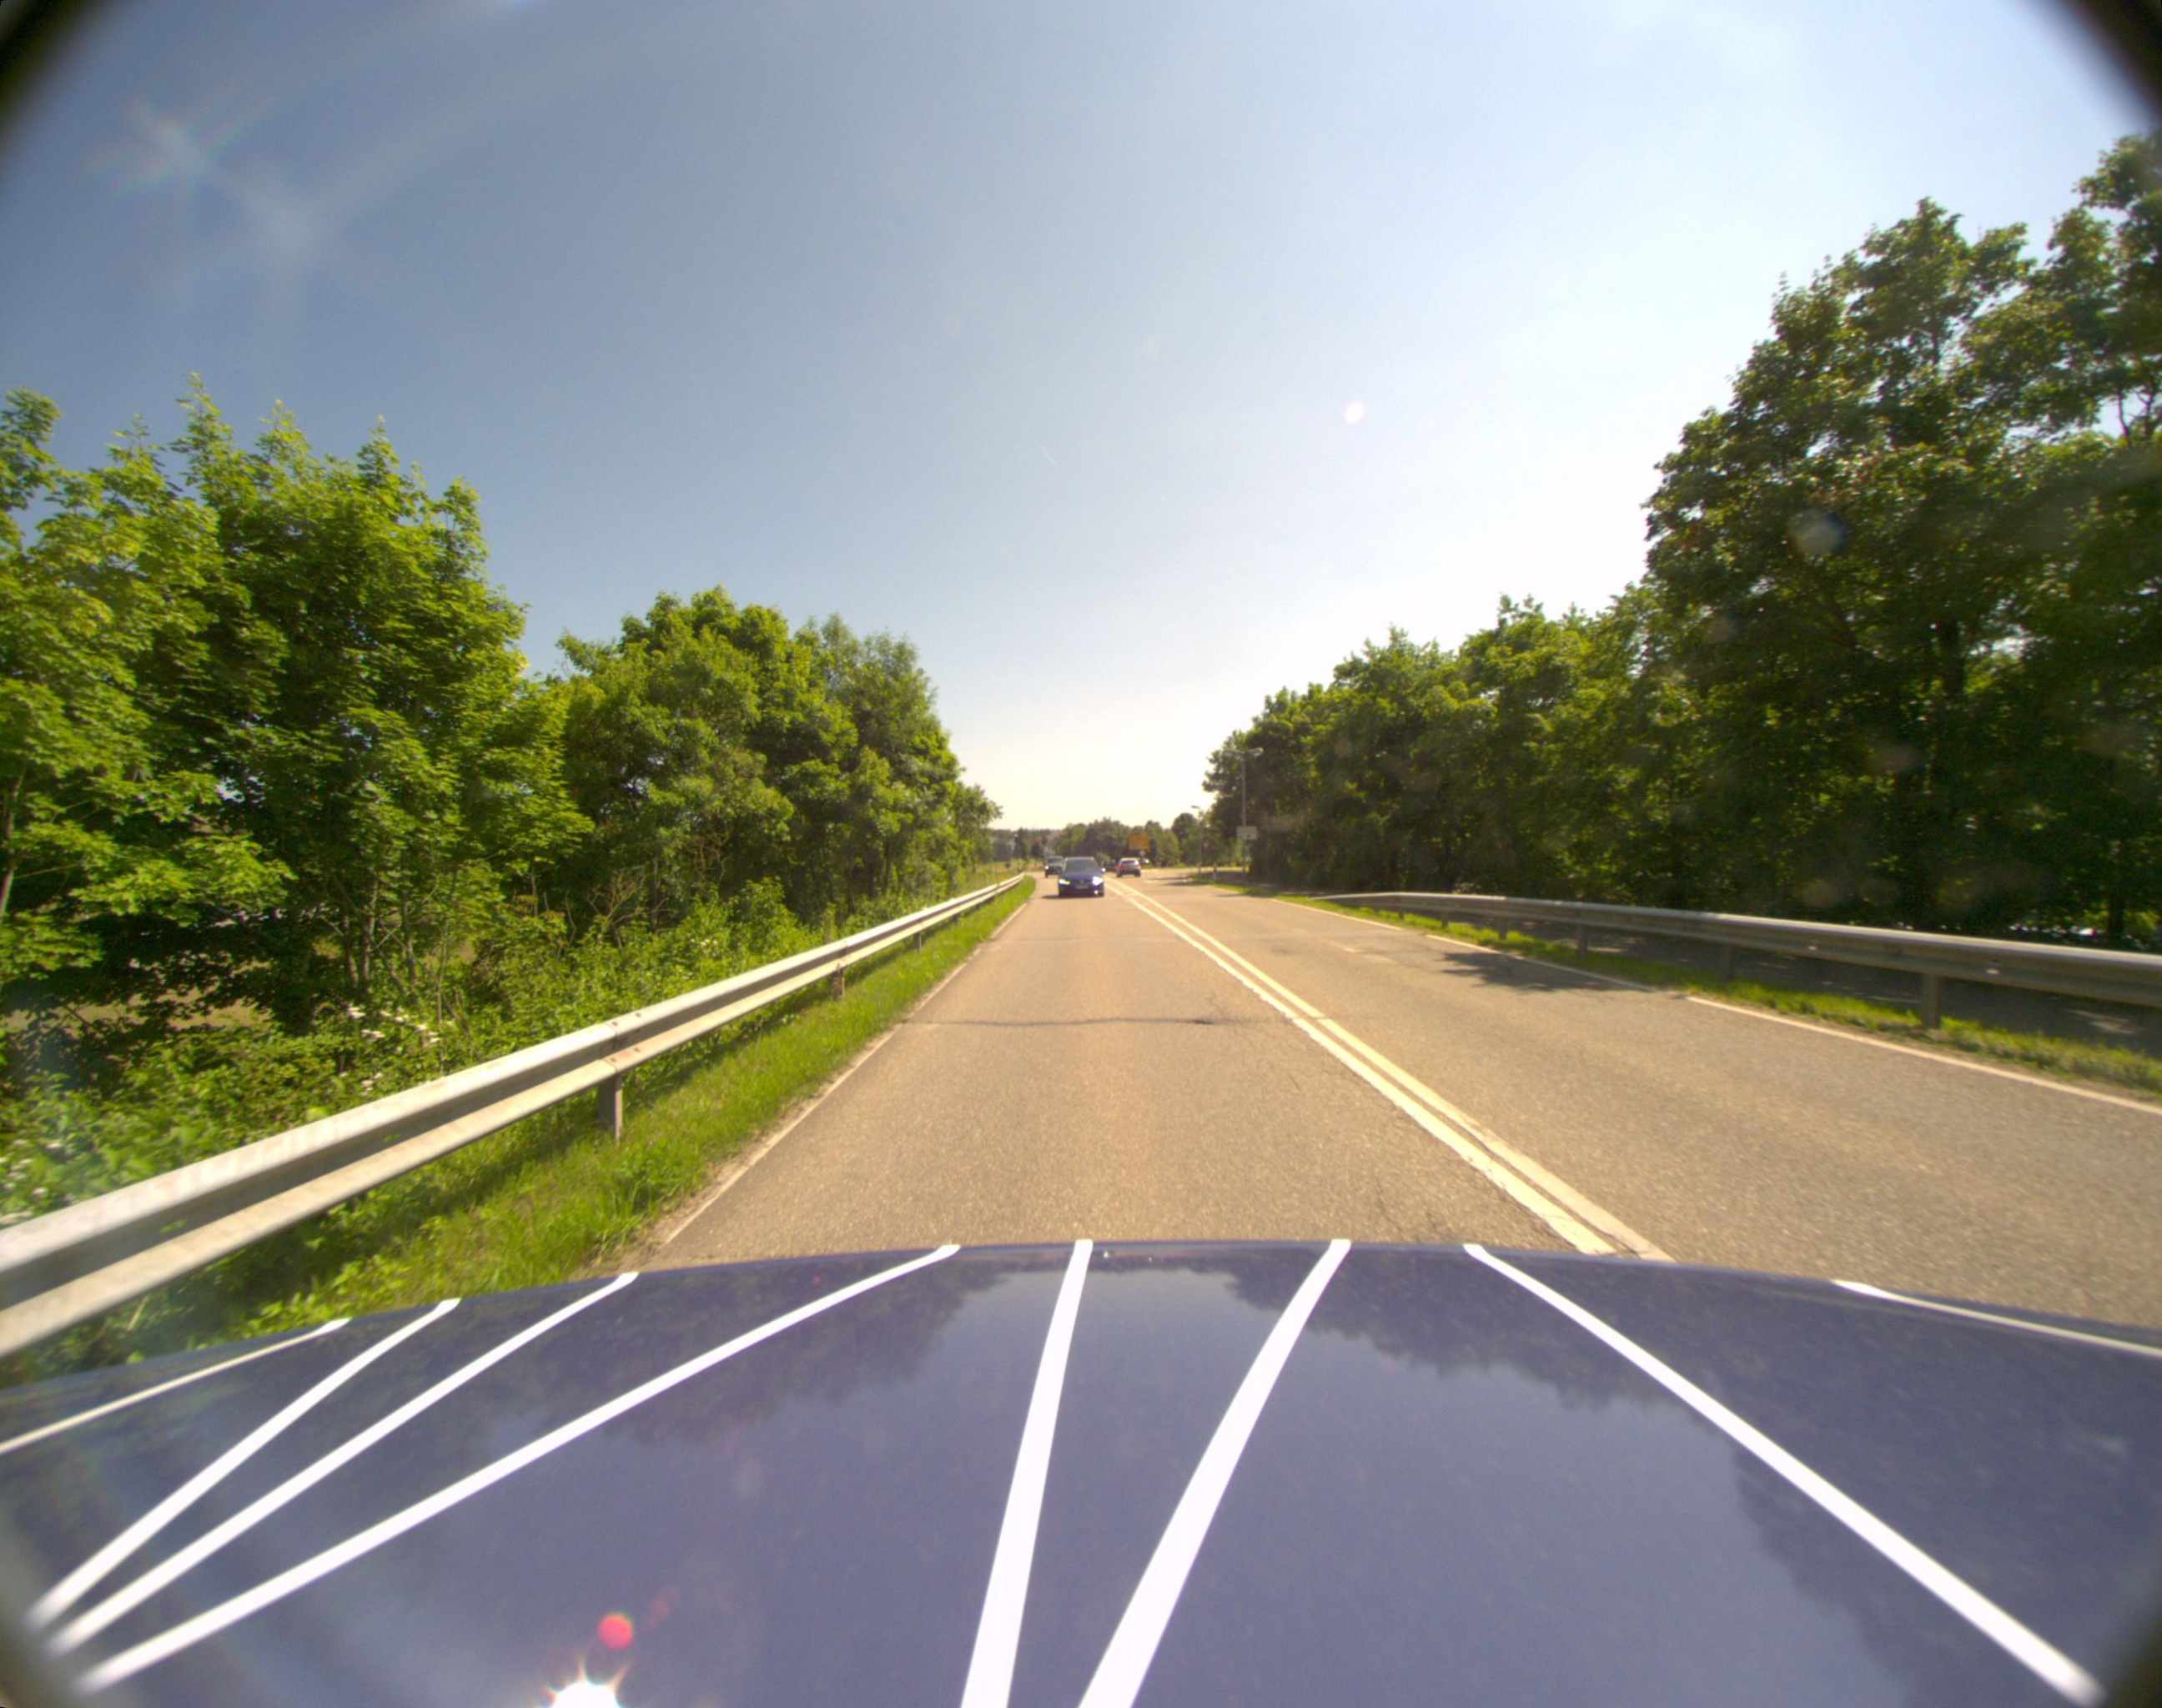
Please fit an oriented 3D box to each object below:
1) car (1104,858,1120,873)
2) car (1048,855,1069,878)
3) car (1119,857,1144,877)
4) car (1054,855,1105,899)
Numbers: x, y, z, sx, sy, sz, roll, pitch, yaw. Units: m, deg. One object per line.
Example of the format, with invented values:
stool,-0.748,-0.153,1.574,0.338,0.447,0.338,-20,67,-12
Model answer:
car,3.254,1.212,80.592,1.631,1.396,3.433,-2,0,1
car,-2.071,1.154,70.560,1.779,2.006,4.000,1,-1,1
car,3.999,1.023,60.988,1.744,1.447,3.888,-2,0,1
car,0.011,0.868,30.588,1.828,1.591,4.196,-2,0,2
